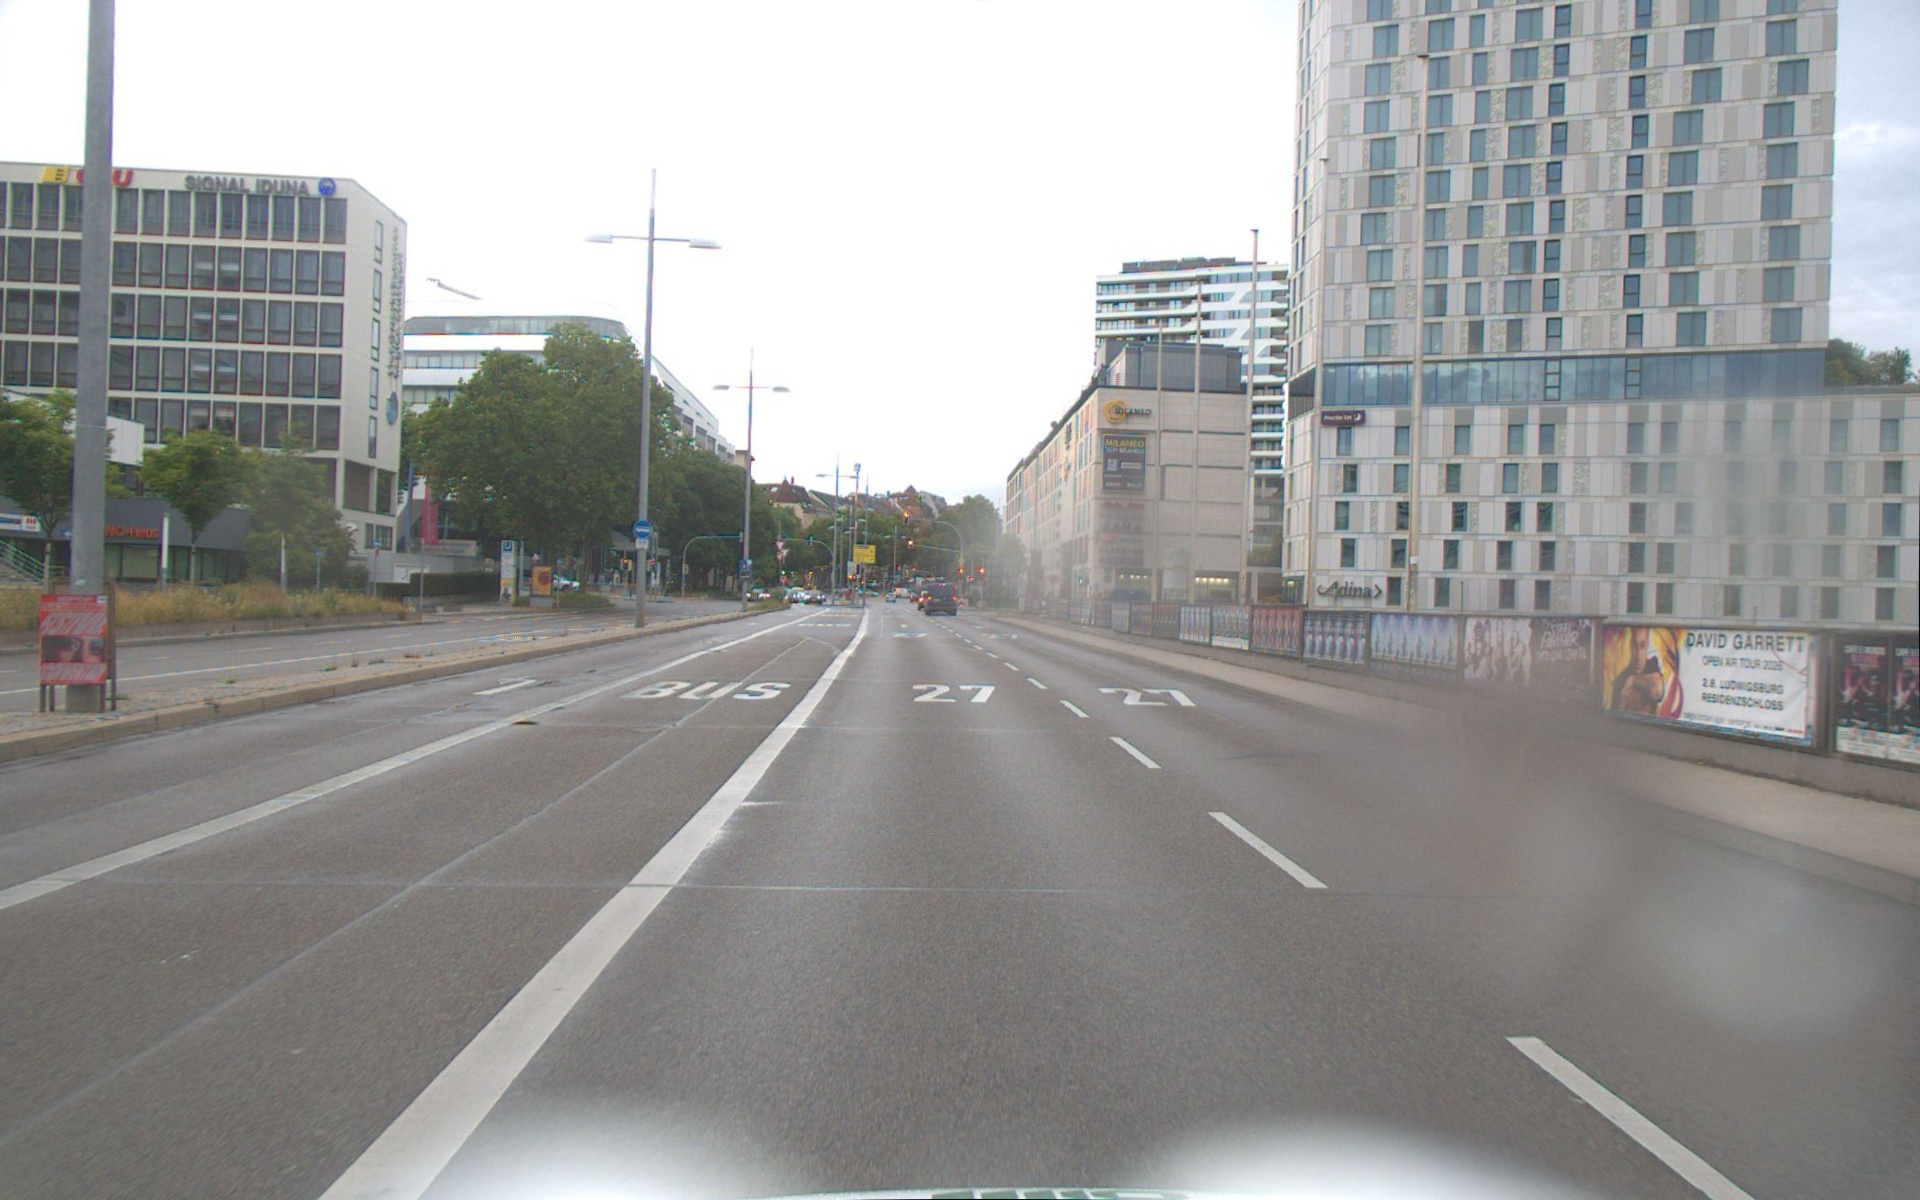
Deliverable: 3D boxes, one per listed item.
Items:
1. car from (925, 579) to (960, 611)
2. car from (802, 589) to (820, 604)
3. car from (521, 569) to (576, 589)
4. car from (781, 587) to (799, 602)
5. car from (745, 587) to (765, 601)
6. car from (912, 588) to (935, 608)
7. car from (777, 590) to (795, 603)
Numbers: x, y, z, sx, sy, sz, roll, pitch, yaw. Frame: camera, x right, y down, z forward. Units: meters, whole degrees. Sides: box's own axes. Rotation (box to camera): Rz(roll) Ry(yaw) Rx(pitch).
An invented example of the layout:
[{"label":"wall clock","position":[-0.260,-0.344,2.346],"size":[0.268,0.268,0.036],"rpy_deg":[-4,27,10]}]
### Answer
[{"label":"car","position":[-1.146,-0.332,104.862],"size":[1.992,1.915,5.040],"rpy_deg":[-2,1,-2]},{"label":"car","position":[-15.797,-0.361,174.982],"size":[1.708,1.470,3.393],"rpy_deg":[1,-1,-3]},{"label":"car","position":[-36.728,-1.880,147.565],"size":[4.405,1.660,1.896],"rpy_deg":[0,-1,13]},{"label":"car","position":[-18.792,-0.626,183.109],"size":[1.708,1.586,3.537],"rpy_deg":[1,-1,-3]},{"label":"car","position":[-21.679,-0.626,175.052],"size":[1.708,1.352,4.223],"rpy_deg":[1,-1,-3]},{"label":"car","position":[-2.822,-0.142,128.763],"size":[1.705,1.558,3.812],"rpy_deg":[1,-1,-3]},{"label":"car","position":[-18.492,-0.360,175.796],"size":[1.708,1.279,3.538],"rpy_deg":[1,1,-3]}]
